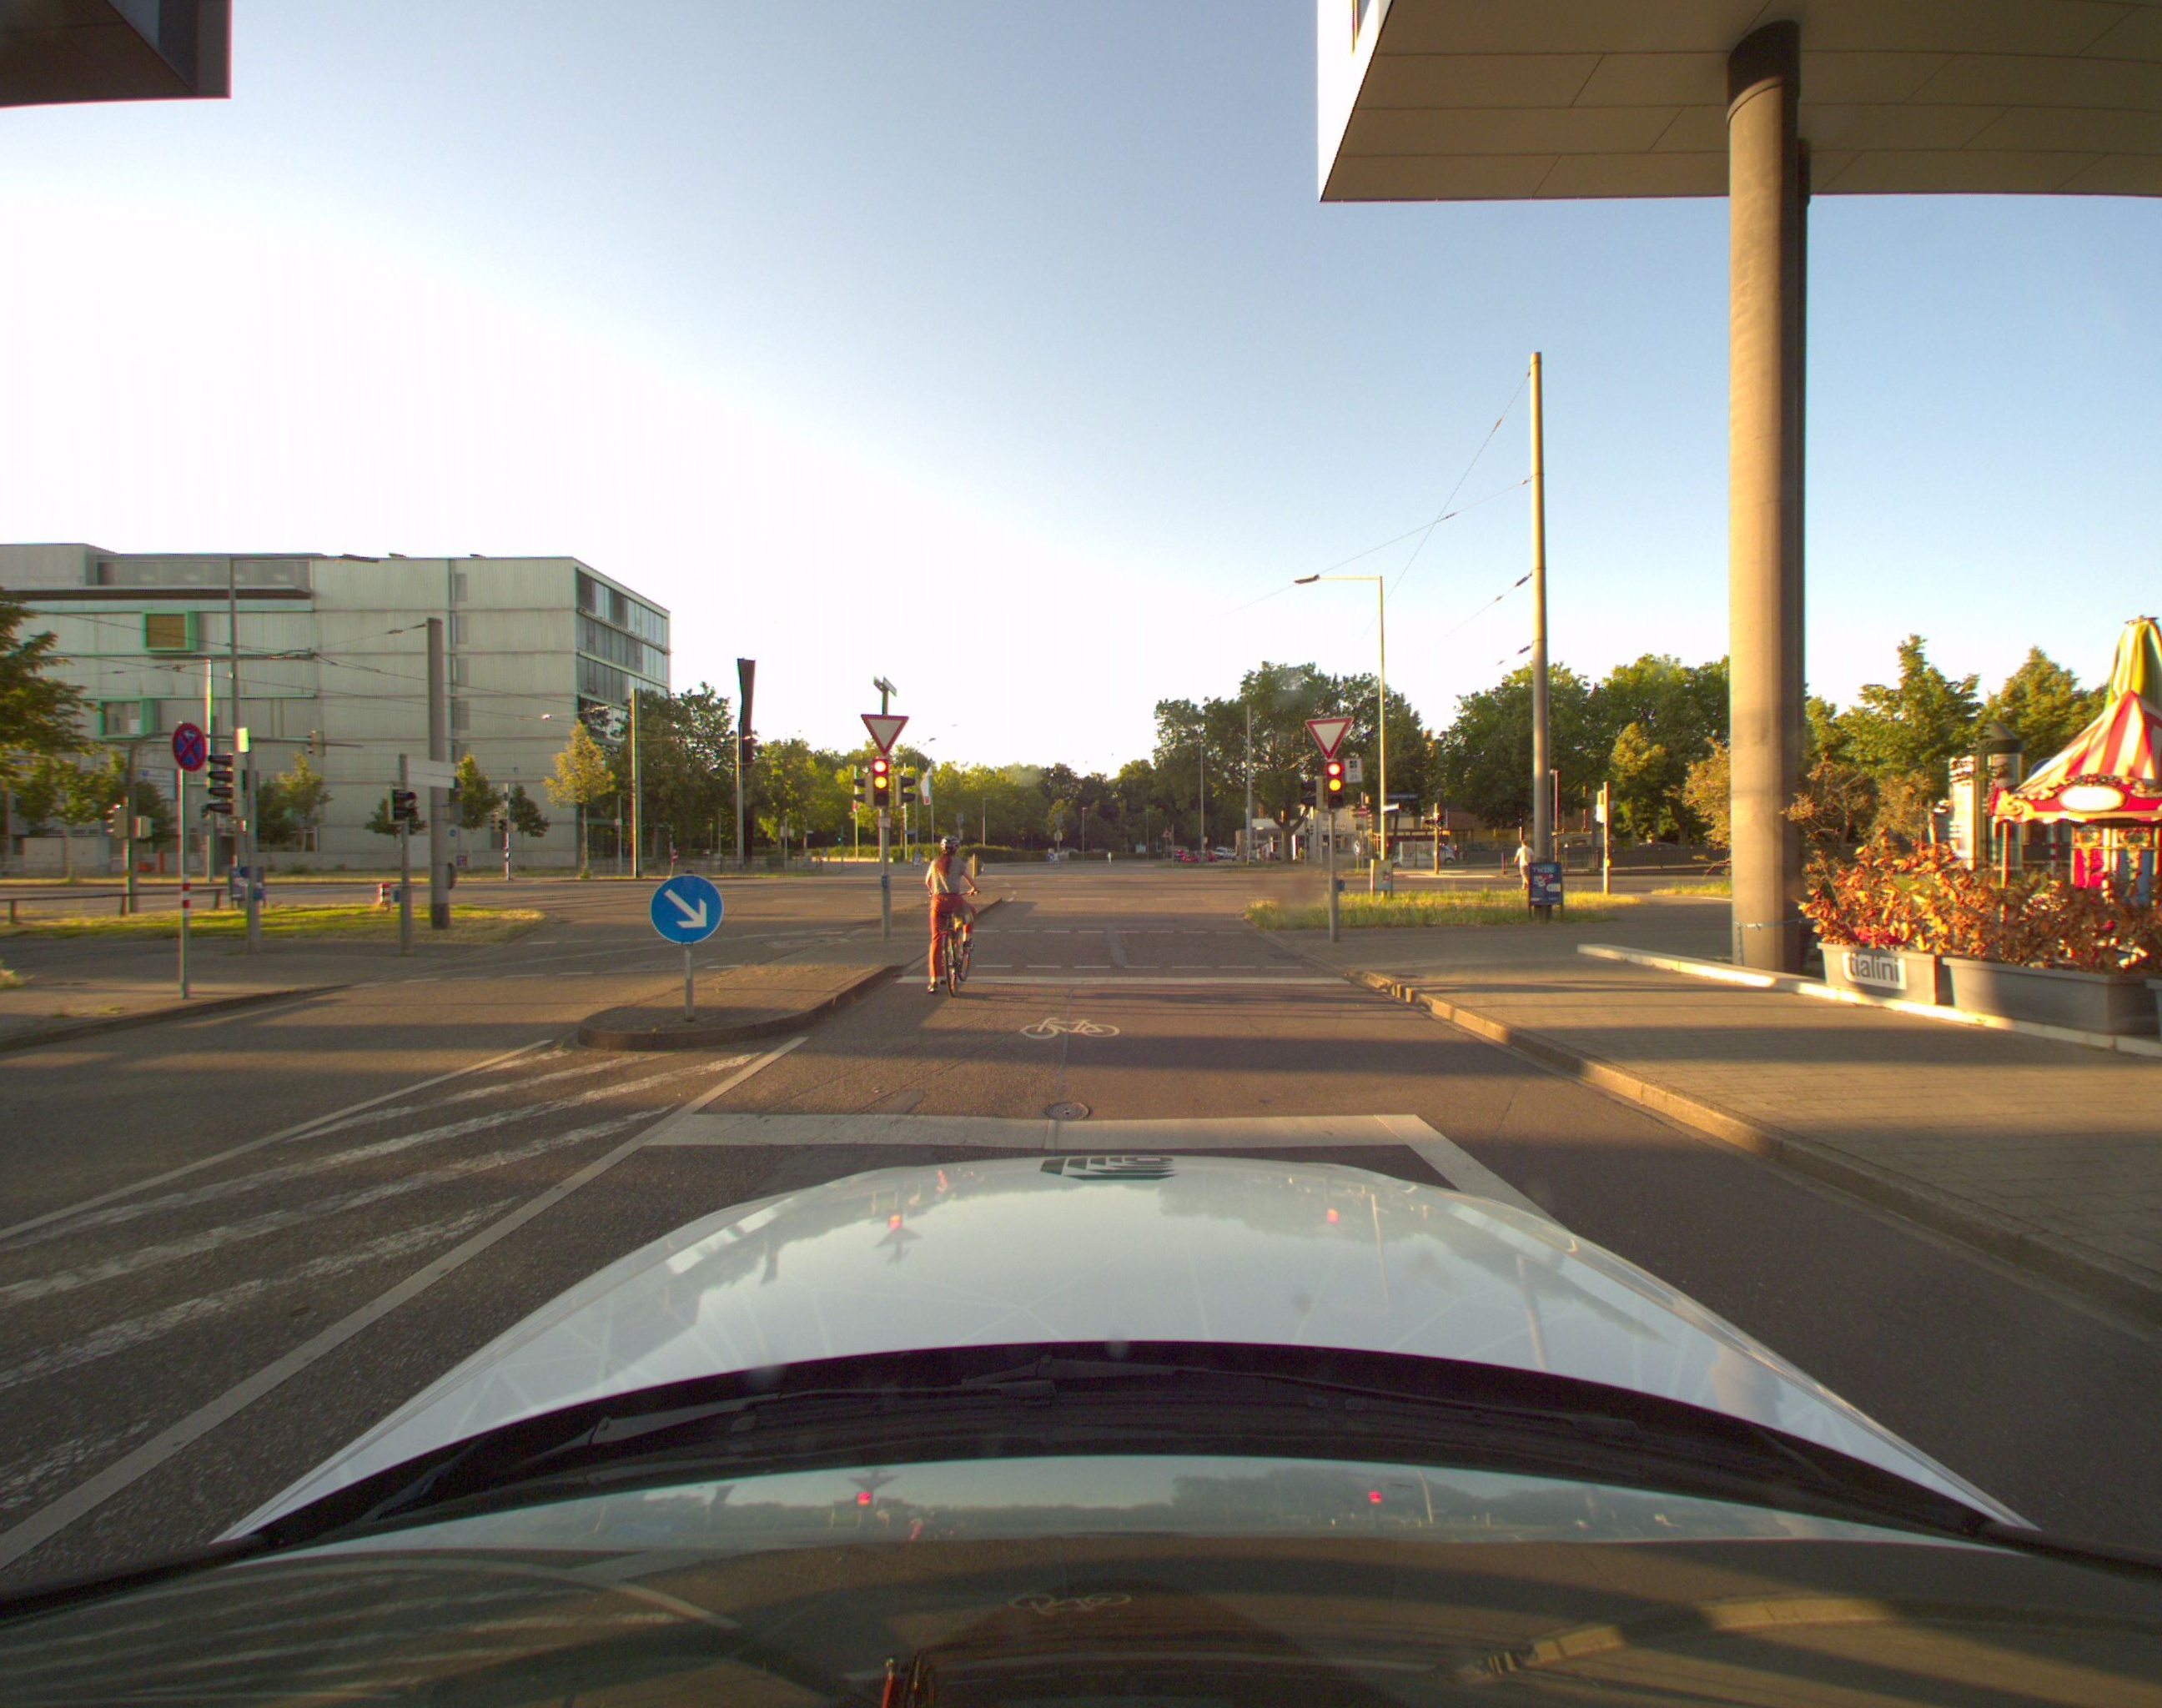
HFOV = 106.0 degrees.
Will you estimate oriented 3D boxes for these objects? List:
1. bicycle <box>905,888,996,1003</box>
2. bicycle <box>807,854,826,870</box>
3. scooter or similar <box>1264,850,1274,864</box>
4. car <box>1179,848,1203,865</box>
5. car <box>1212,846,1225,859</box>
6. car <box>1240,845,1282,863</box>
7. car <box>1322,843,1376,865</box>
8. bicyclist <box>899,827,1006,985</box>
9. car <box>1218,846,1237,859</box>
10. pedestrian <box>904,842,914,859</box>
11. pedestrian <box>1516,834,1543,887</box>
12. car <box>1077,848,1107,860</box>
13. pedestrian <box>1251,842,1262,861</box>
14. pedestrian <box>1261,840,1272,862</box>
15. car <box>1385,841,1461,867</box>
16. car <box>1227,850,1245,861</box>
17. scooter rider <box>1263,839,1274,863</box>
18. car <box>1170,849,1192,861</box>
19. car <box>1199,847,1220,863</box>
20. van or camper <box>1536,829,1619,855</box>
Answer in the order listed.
[{"bbox_3d":[-1.448,0.982,9.405,0.632,1.068,2.123,-1,0,2],"label":"bicycle"},{"bbox_3d":[-20.722,0.616,63.907,0.697,1.136,2.392,-1,0,-1],"label":"bicycle"},{"bbox_3d":[14.931,0.225,64.789,0.508,1.090,1.243,-1,0,2],"label":"scooter or similar"},{"bbox_3d":[12.922,0.271,95.582,1.852,1.874,3.896,0,0,23],"label":"car"},{"bbox_3d":[22.076,-0.316,130.871,1.982,2.013,4.010,-1,0,9],"label":"car"},{"bbox_3d":[19.584,0.016,88.681,4.354,1.835,1.952,-1,0,6],"label":"car"},{"bbox_3d":[23.658,-0.023,72.082,4.211,1.846,2.002,-1,0,4],"label":"car"},{"bbox_3d":[-1.455,0.570,9.421,1.028,1.717,0.996,-1,0,1],"label":"bicyclist"},{"bbox_3d":[24.360,-0.296,135.326,1.975,2.013,4.024,-1,0,27],"label":"car"},{"bbox_3d":[-17.894,-0.349,84.760,0.898,1.754,0.715,-1,0,-24],"label":"pedestrian"},{"bbox_3d":[15.461,0.229,28.103,0.754,1.791,0.807,0,0,25],"label":"pedestrian"},{"bbox_3d":[1.486,-0.008,109.693,3.970,1.561,2.002,-1,0,3],"label":"car"},{"bbox_3d":[14.712,-0.206,68.301,0.712,1.639,0.903,-1,0,26],"label":"pedestrian"},{"bbox_3d":[15.350,-0.246,67.343,0.712,1.754,0.903,-1,0,26],"label":"pedestrian"},{"bbox_3d":[23.658,-0.015,56.439,4.523,1.728,1.860,-1,0,-3],"label":"car"},{"bbox_3d":[21.989,0.211,115.189,1.899,1.602,4.020,0,0,20],"label":"car"},{"bbox_3d":[14.942,-0.228,64.792,0.699,1.855,0.669,0,-1,1],"label":"scooter rider"},{"bbox_3d":[12.795,0.139,103.995,1.740,1.541,4.423,-1,-1,21],"label":"car"},{"bbox_3d":[16.254,0.097,103.122,1.899,2.047,4.020,0,0,20],"label":"car"},{"bbox_3d":[47.926,-1.114,78.771,6.530,2.410,2.268,0,0,6],"label":"van or camper"}]
